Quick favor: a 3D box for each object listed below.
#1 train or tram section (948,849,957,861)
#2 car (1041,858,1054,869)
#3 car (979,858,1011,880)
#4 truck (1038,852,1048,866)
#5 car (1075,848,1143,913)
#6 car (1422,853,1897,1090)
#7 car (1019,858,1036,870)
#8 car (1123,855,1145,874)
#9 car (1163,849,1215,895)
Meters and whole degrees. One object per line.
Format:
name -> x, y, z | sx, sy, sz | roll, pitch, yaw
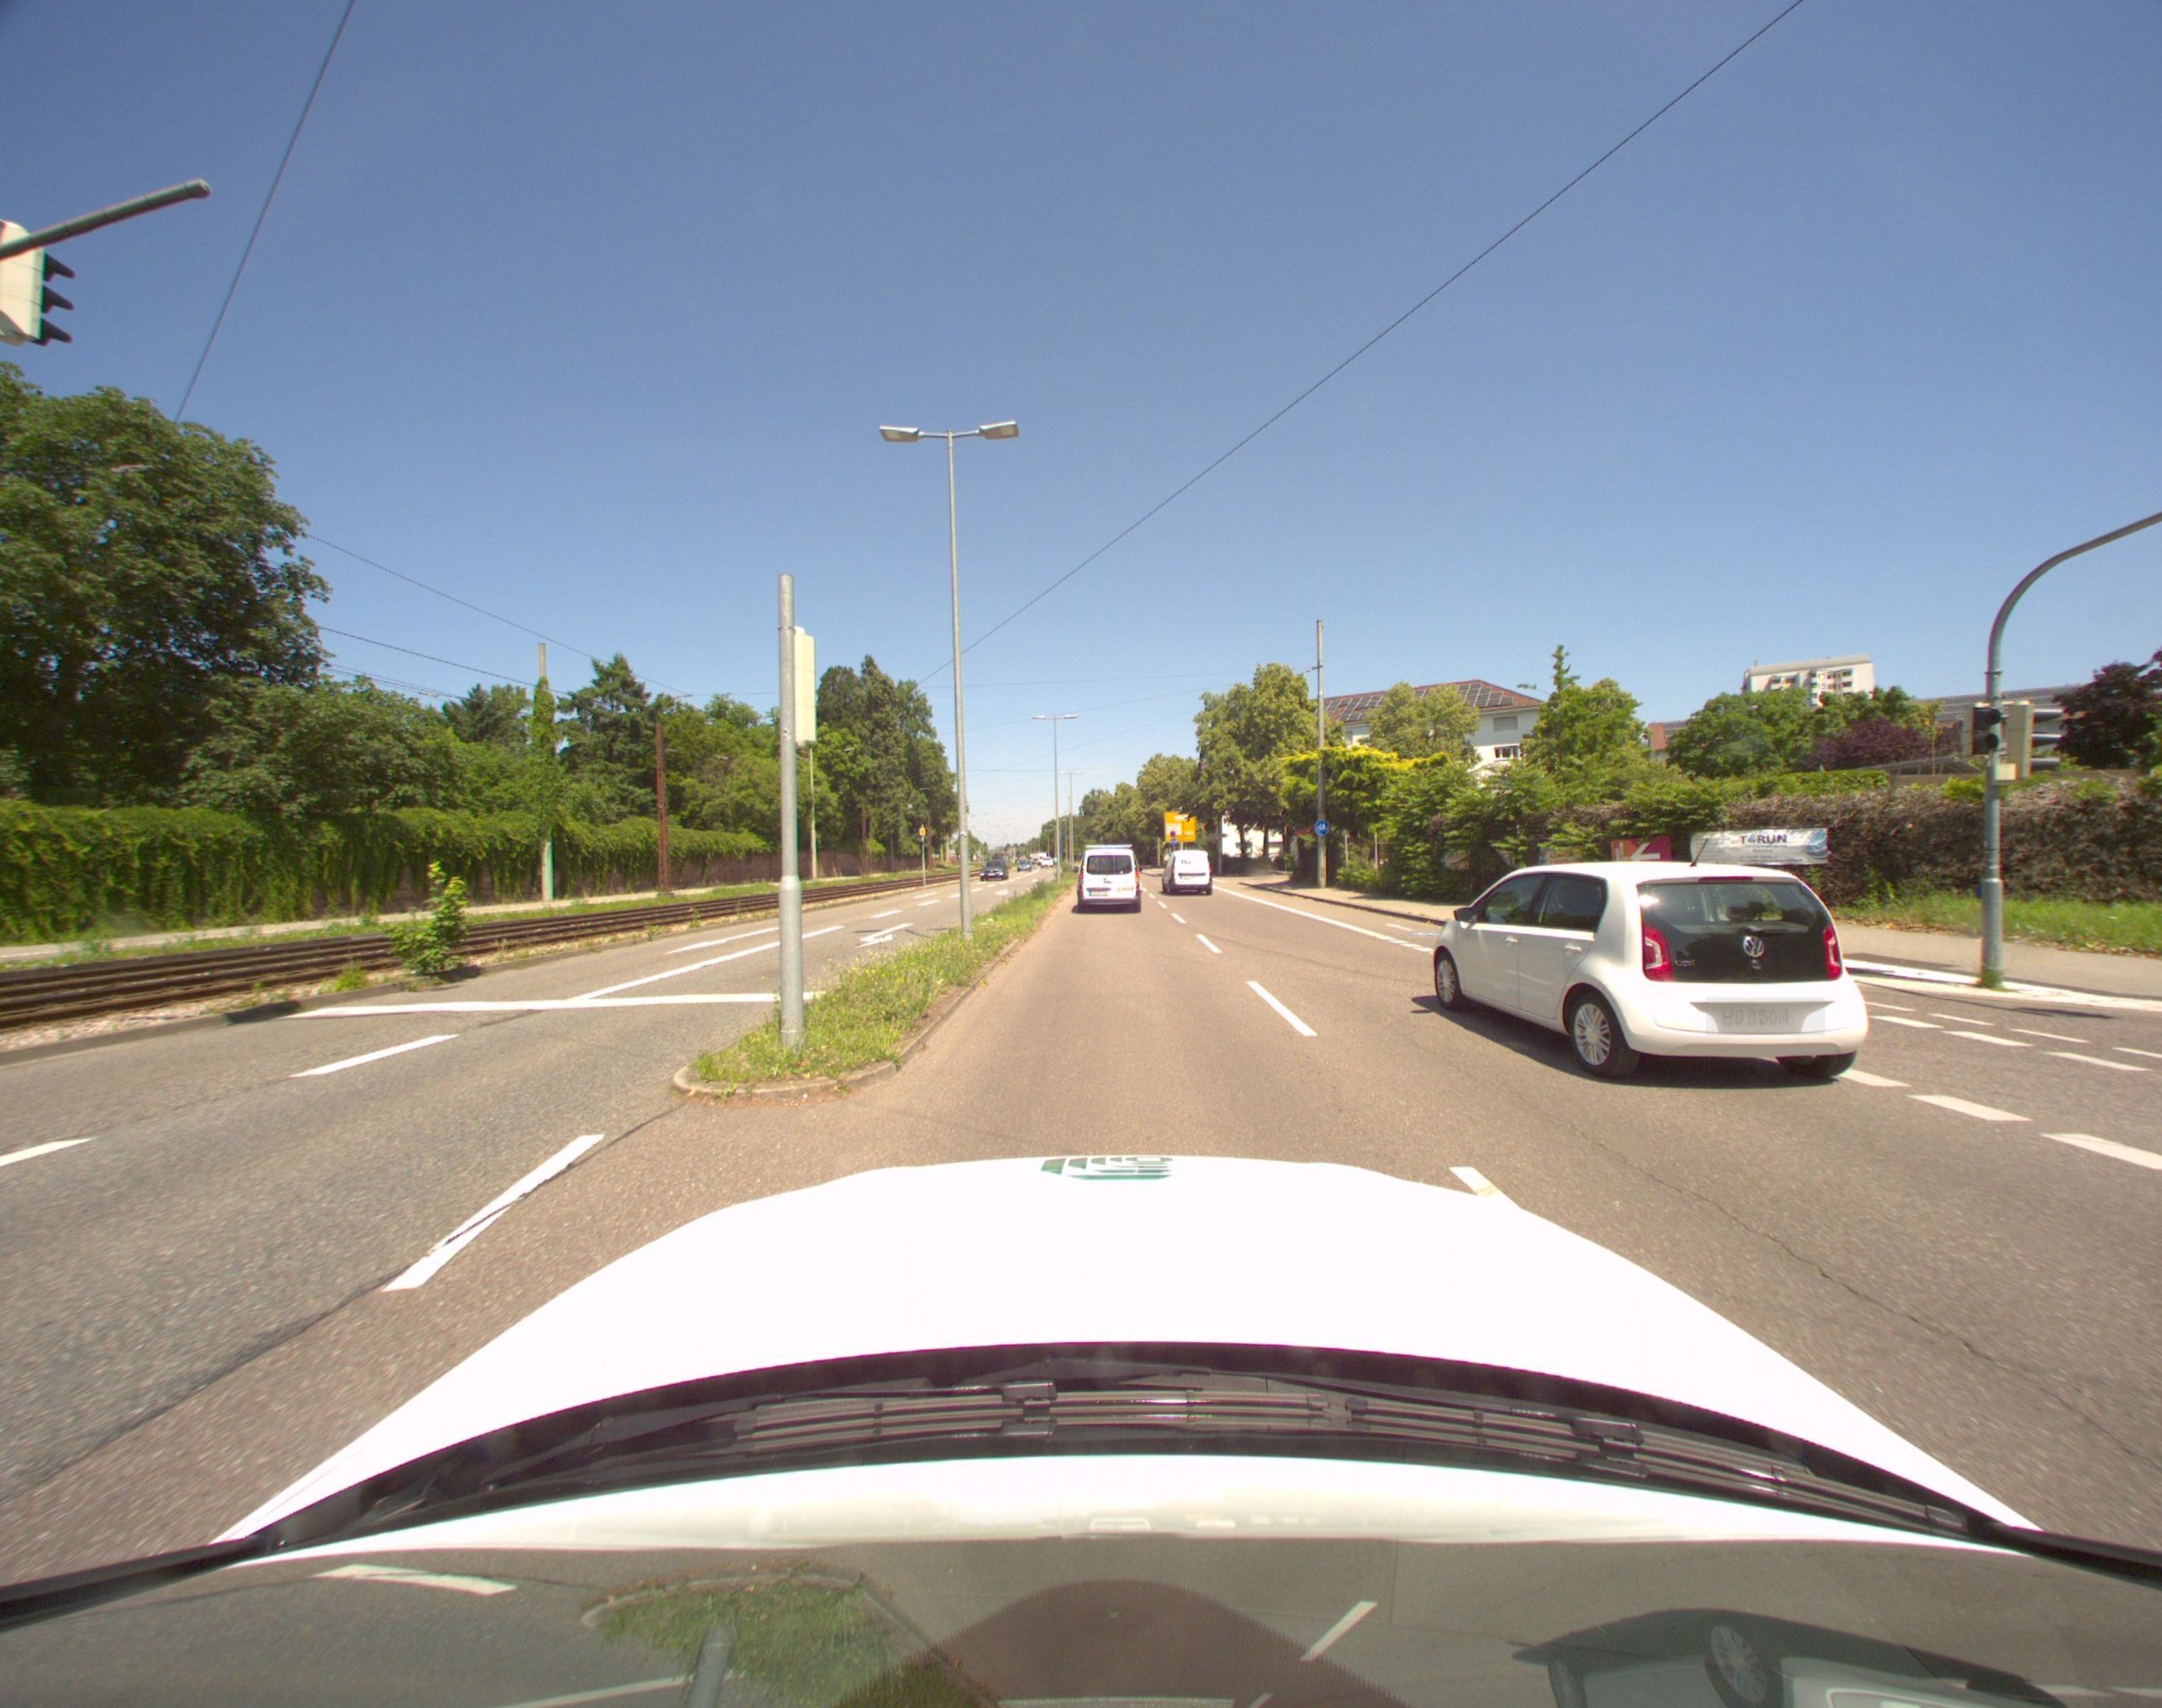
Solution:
train or tram section -> -38.496, 0.244, 244.763 | 1.992, 3.523, 16.126 | 0, 0, -7
car -> -5.723, 1.540, 139.028 | 1.986, 1.816, 4.001 | -1, 0, 1
car -> -6.502, 1.109, 61.662 | 1.690, 1.512, 4.070 | -2, 0, 4
truck -> -8.598, 1.088, 185.339 | 1.986, 3.213, 5.313 | -1, 0, 1
car -> 0.839, 0.704, 23.892 | 1.814, 1.739, 4.398 | 0, 0, 2
car -> 4.320, 0.727, 6.792 | 1.603, 1.447, 3.437 | 0, 0, 1
car -> -6.507, 1.205, 99.093 | 1.692, 1.439, 3.999 | -2, 0, 0
car -> 4.674, 0.898, 72.578 | 1.828, 1.568, 4.002 | 0, 0, 2
car -> 4.395, 0.718, 33.744 | 1.721, 1.788, 4.065 | 0, 0, 1
